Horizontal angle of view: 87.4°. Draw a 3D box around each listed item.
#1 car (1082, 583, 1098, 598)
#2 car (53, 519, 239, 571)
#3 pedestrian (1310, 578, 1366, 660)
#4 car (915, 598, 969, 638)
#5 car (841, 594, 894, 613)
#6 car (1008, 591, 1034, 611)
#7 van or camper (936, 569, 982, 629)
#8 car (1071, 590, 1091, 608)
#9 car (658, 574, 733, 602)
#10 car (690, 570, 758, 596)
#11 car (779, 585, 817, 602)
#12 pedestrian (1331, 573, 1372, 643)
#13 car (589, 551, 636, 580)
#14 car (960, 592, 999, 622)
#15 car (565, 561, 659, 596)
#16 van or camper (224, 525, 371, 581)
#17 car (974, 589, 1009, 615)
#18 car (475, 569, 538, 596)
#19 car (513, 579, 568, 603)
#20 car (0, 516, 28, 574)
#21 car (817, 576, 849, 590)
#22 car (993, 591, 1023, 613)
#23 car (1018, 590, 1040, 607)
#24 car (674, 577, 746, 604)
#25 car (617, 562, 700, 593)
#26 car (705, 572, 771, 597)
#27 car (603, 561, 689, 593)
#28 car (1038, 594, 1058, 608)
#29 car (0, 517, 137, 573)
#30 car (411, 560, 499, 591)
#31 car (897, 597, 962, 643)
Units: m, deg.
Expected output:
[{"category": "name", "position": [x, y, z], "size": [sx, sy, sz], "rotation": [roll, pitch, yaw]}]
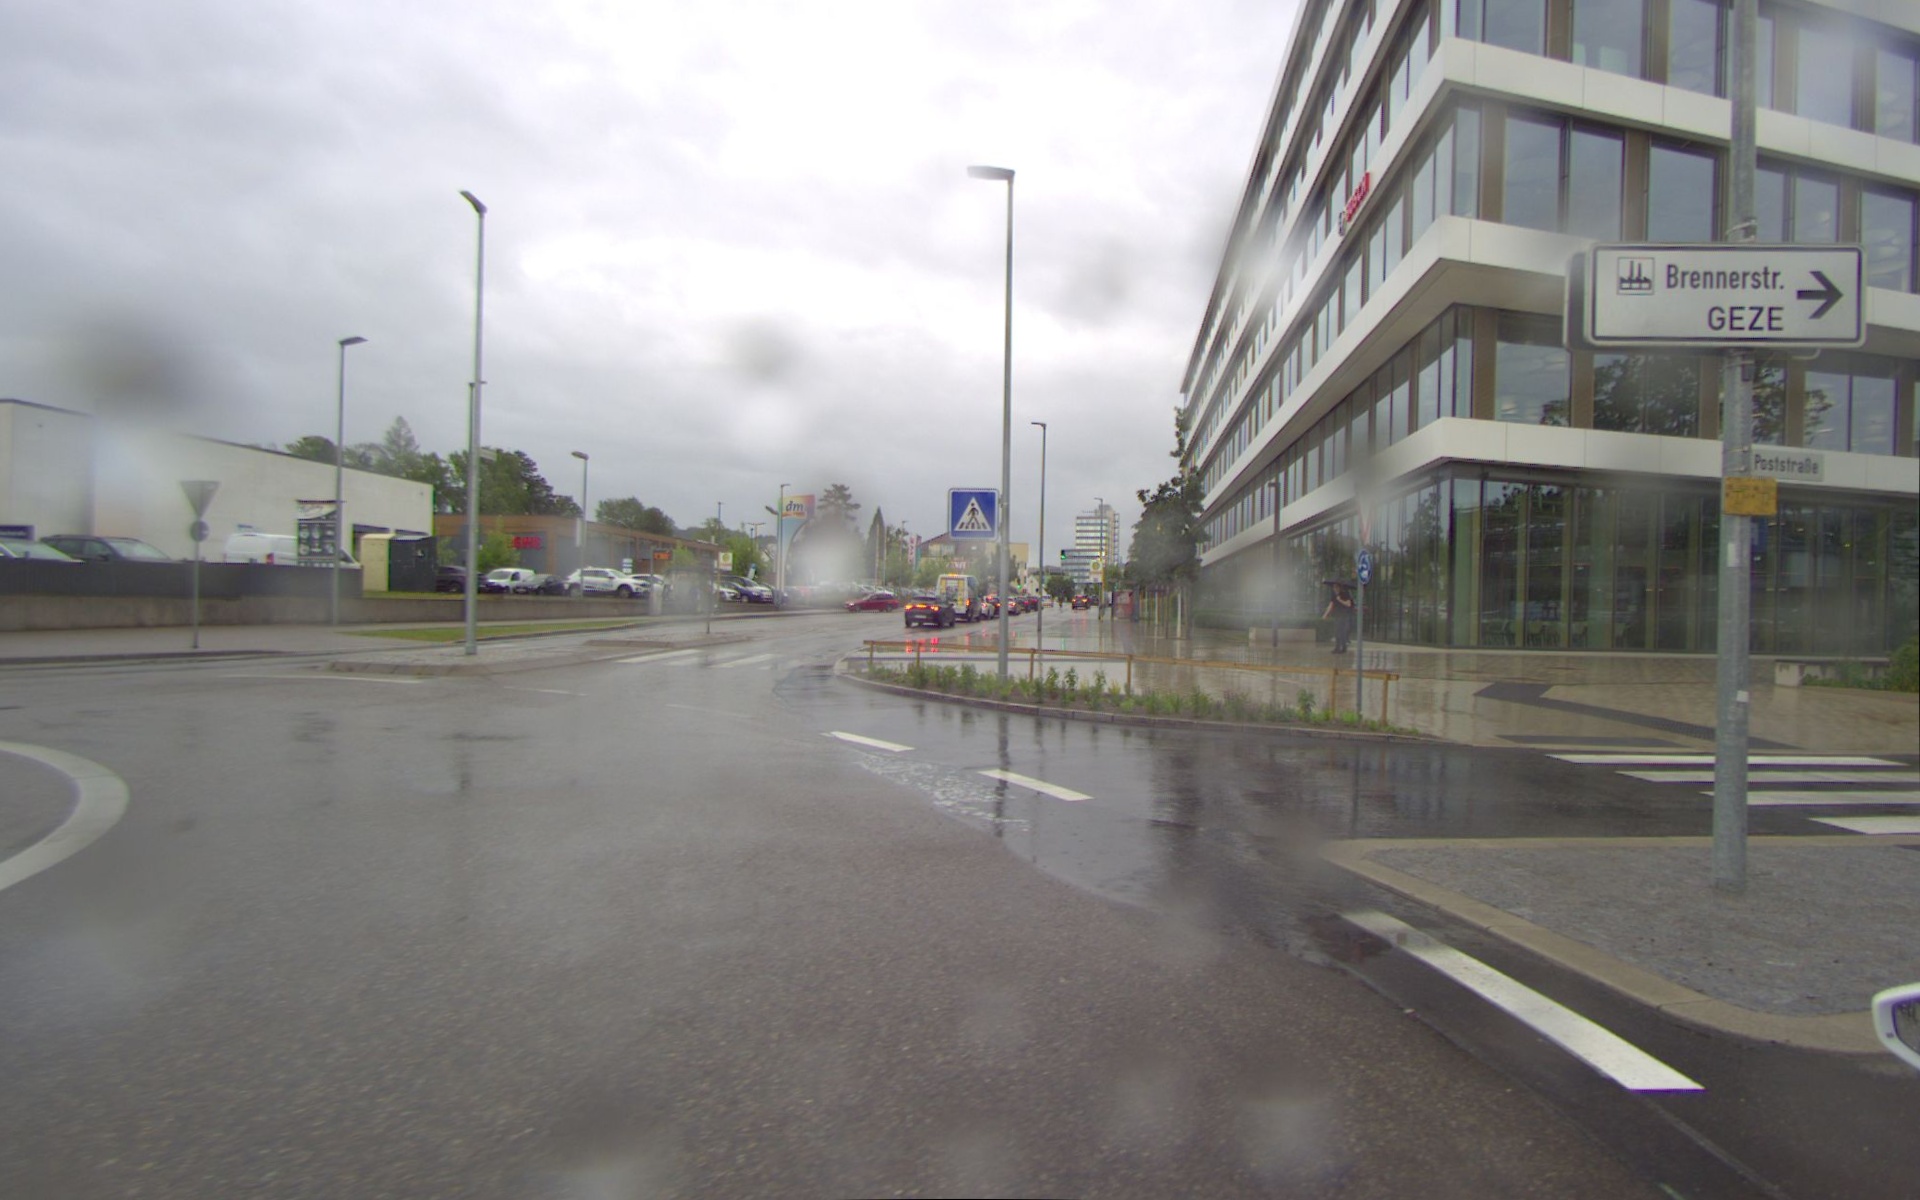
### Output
[{"category": "car", "position": [18.393, -1.350, 142.058], "size": [1.960, 1.885, 4.001], "rotation": [4, 3, 11]}, {"category": "car", "position": [-22.690, -1.535, 28.081], "size": [3.919, 1.313, 1.888], "rotation": [2, 3, 9]}, {"category": "pedestrian", "position": [9.619, 0.473, 25.594], "size": [0.917, 2.041, 0.890], "rotation": [1, 1, -19]}, {"category": "car", "position": [-0.835, 0.851, 49.401], "size": [1.959, 1.729, 4.002], "rotation": [2, 1, 8]}, {"category": "car", "position": [-7.693, 0.291, 83.749], "size": [3.951, 1.417, 1.985], "rotation": [1, 1, -29]}, {"category": "car", "position": [5.495, 0.072, 90.646], "size": [1.959, 1.640, 4.002], "rotation": [2, 1, 8]}, {"category": "van or camper", "position": [-0.013, -0.131, 56.241], "size": [1.959, 3.130, 5.103], "rotation": [1, 2, 7]}, {"category": "car", "position": [14.452, -0.147, 119.404], "size": [1.960, 1.885, 4.001], "rotation": [4, 3, 11]}, {"category": "car", "position": [-15.781, -0.705, 60.100], "size": [3.919, 1.573, 1.795], "rotation": [2, 1, 6]}, {"category": "car", "position": [-15.313, -1.073, 65.362], "size": [3.919, 1.573, 1.795], "rotation": [2, 1, 6]}, {"category": "car", "position": [-18.980, -0.745, 118.047], "size": [3.919, 1.673, 2.001], "rotation": [4, 3, 8]}, {"category": "pedestrian", "position": [12.368, 0.245, 31.745], "size": [0.985, 2.174, 0.932], "rotation": [2, 1, 12]}, {"category": "car", "position": [-27.066, -2.709, 78.436], "size": [1.960, 2.041, 4.000], "rotation": [4, 3, 4]}, {"category": "car", "position": [1.281, 0.420, 64.077], "size": [1.959, 1.729, 4.002], "rotation": [2, 1, 8]}, {"category": "car", "position": [-17.176, -1.062, 49.669], "size": [3.919, 1.573, 1.853], "rotation": [2, 1, 6]}, {"category": "van or camper", "position": [-23.357, -1.672, 35.631], "size": [1.849, 1.785, 4.383], "rotation": [2, 3, 10]}, {"category": "car", "position": [2.208, 0.104, 70.403], "size": [1.959, 1.640, 4.002], "rotation": [2, 1, 8]}, {"category": "car", "position": [-27.841, -1.082, 61.793], "size": [1.758, 1.573, 4.001], "rotation": [2, 1, 5]}, {"category": "car", "position": [-25.168, -0.535, 60.344], "size": [1.559, 1.371, 3.522], "rotation": [2, 1, 5]}, {"category": "car", "position": [-23.712, -1.304, 22.673], "size": [3.919, 1.313, 1.888], "rotation": [2, 3, 9]}, {"category": "car", "position": [-17.299, -2.332, 136.807], "size": [3.919, 1.673, 2.001], "rotation": [4, 3, 8]}, {"category": "car", "position": [3.828, 0.139, 79.625], "size": [1.959, 1.640, 4.002], "rotation": [2, 1, 8]}, {"category": "car", "position": [7.081, -0.149, 102.777], "size": [1.959, 1.640, 4.002], "rotation": [2, 1, 8]}, {"category": "car", "position": [-15.607, -0.606, 62.841], "size": [3.919, 1.573, 1.795], "rotation": [2, 1, 6]}, {"category": "car", "position": [-16.408, -1.237, 54.834], "size": [3.919, 1.573, 1.795], "rotation": [2, 1, 6]}, {"category": "car", "position": [-14.985, -1.061, 67.886], "size": [3.919, 1.573, 1.795], "rotation": [2, 1, 6]}, {"category": "car", "position": [-16.479, -1.199, 52.835], "size": [3.919, 1.573, 1.795], "rotation": [2, 1, 6]}, {"category": "car", "position": [11.633, 0.092, 132.517], "size": [1.960, 1.606, 4.001], "rotation": [4, 3, 12]}, {"category": "car", "position": [-23.263, -1.410, 25.217], "size": [3.919, 1.313, 1.888], "rotation": [2, 3, 9]}, {"category": "car", "position": [-27.499, -1.309, 54.706], "size": [3.919, 1.573, 1.795], "rotation": [2, 1, 7]}, {"category": "car", "position": [-1.348, 0.862, 45.912], "size": [1.959, 1.751, 4.001], "rotation": [2, 3, 13]}]
